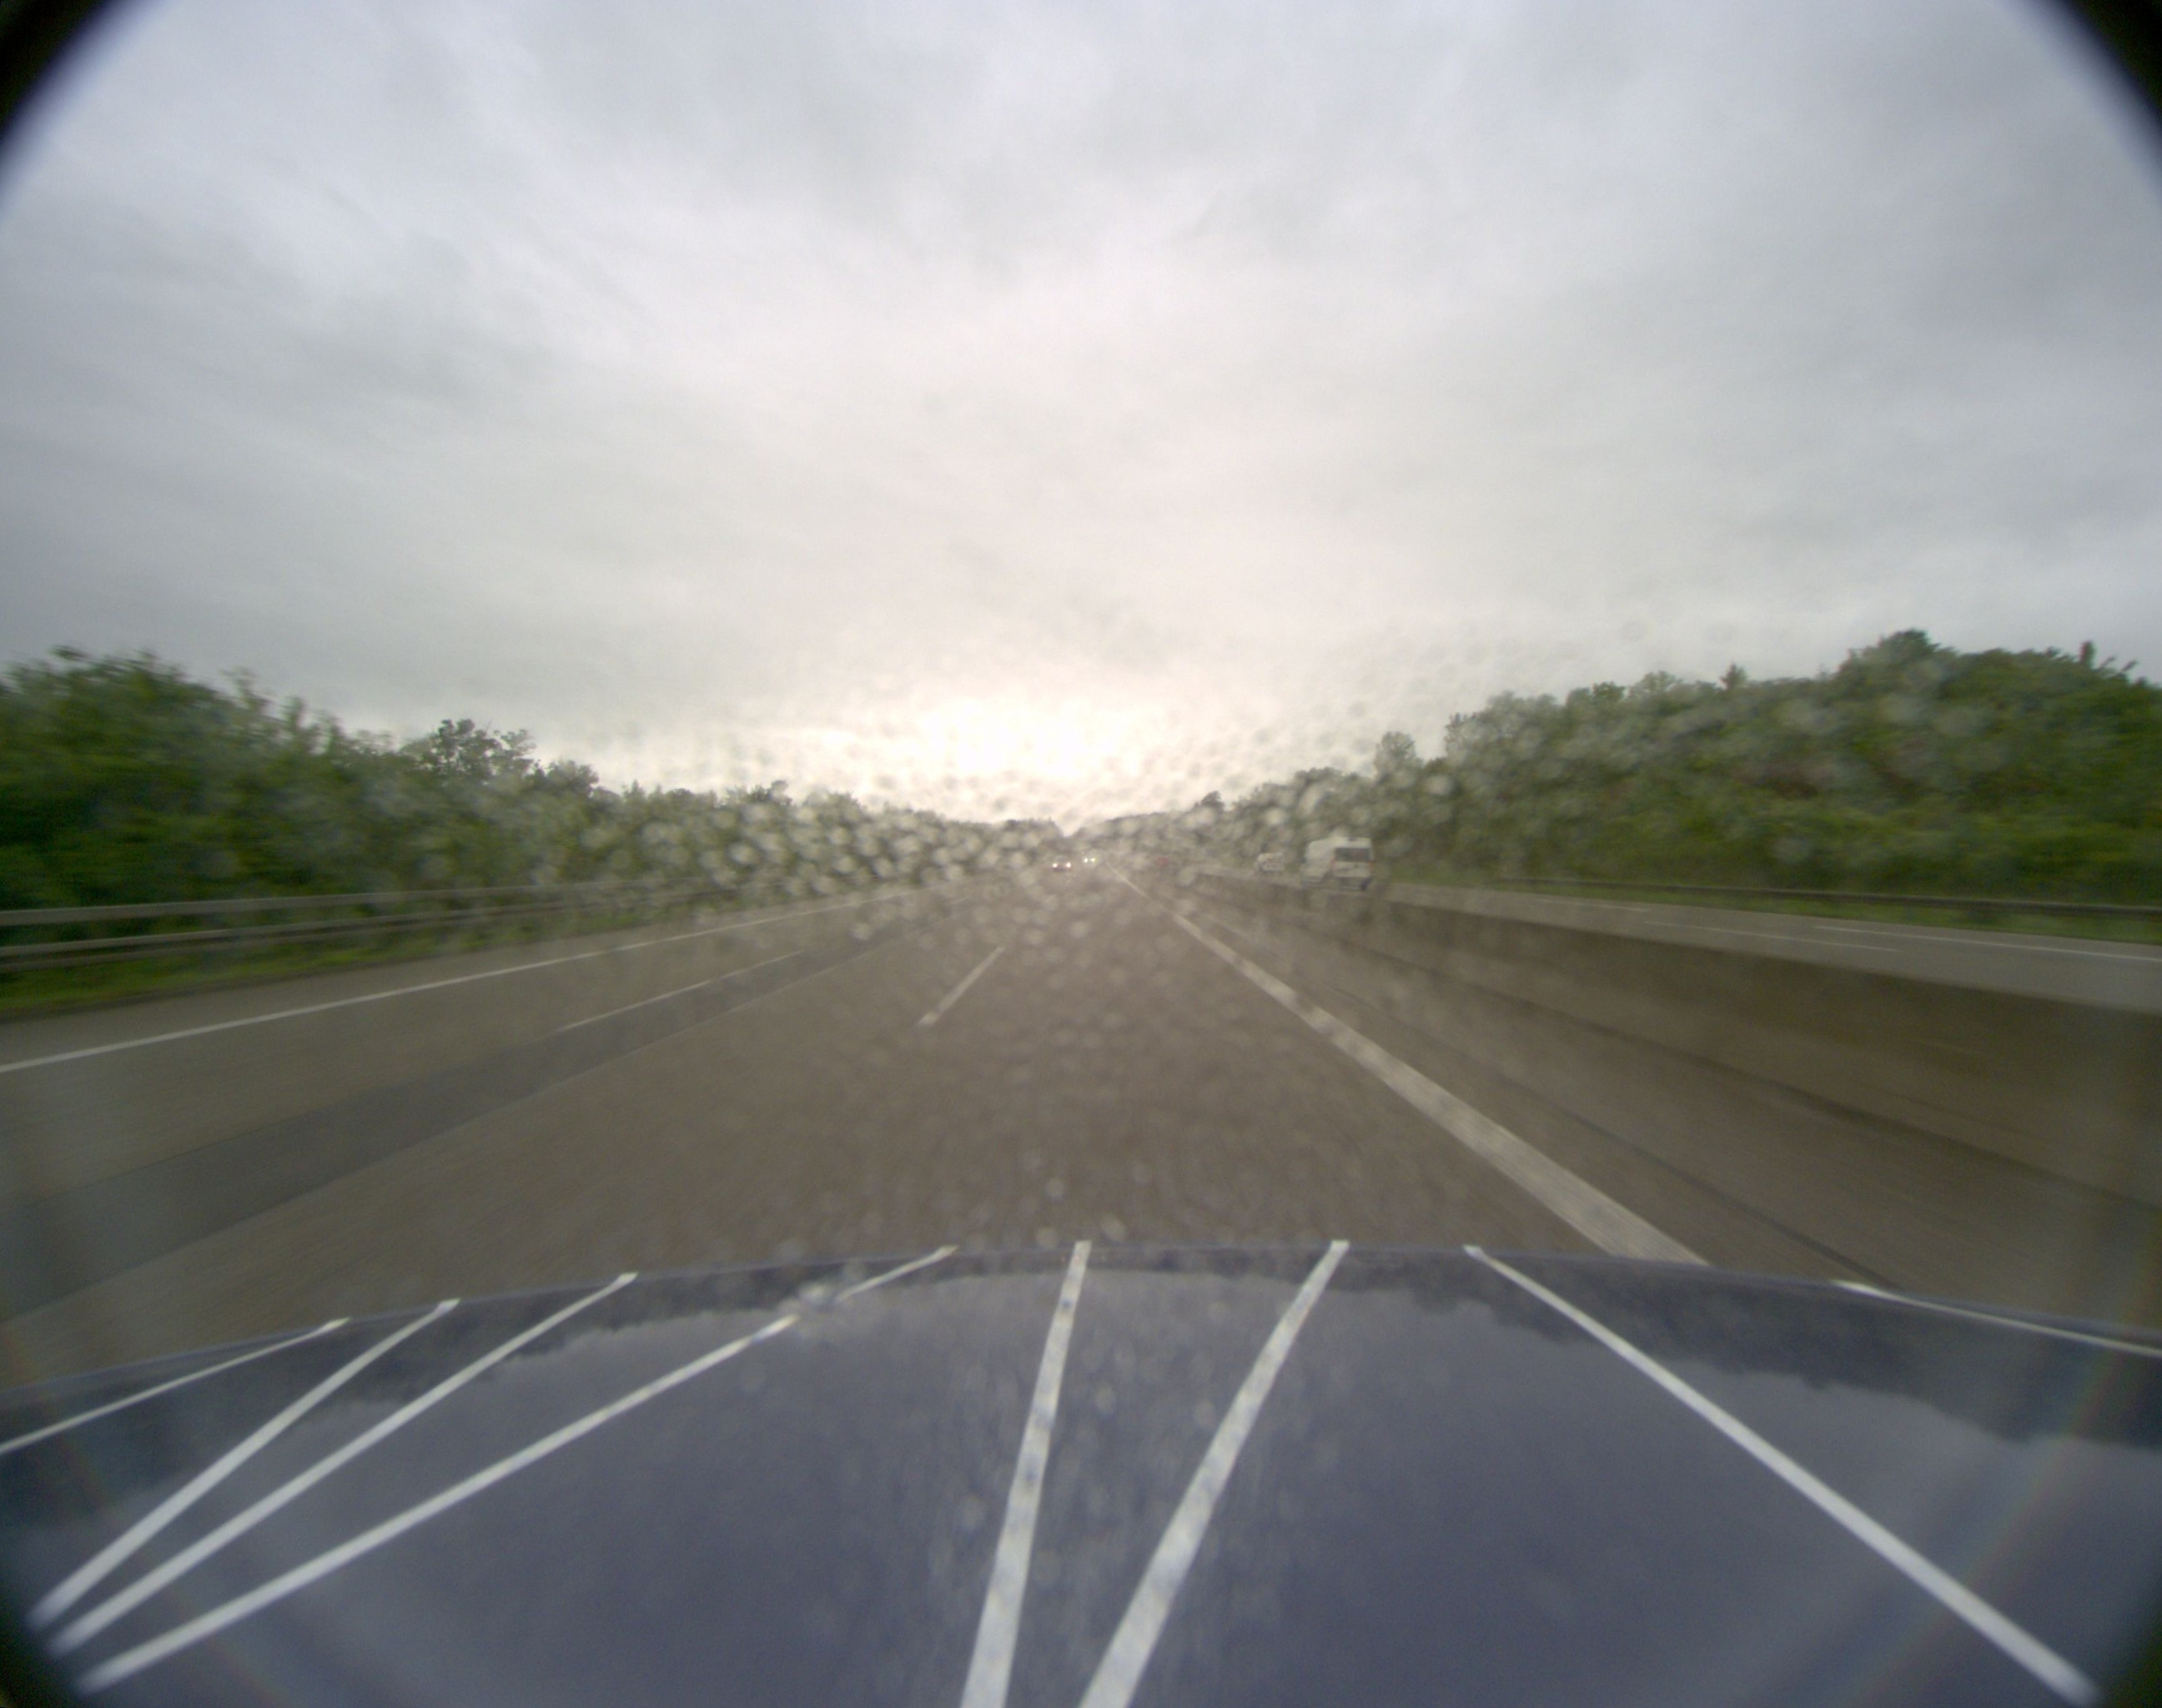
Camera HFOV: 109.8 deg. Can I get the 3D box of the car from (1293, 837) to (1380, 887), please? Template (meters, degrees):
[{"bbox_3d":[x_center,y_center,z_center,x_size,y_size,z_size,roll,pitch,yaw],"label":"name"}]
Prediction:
[{"bbox_3d":[12.710,0.359,38.335,2.282,2.317,6.174,0,0,0],"label":"car"}]

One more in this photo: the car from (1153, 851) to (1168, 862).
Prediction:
[{"bbox_3d":[10.760,0.338,102.856,1.639,1.404,4.366,0,0,0],"label":"car"}]

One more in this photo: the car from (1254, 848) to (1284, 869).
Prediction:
[{"bbox_3d":[17.212,0.413,69.676,1.746,1.893,4.530,0,0,1],"label":"car"}]

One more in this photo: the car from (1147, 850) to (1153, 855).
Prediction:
[{"bbox_3d":[20.585,-0.548,226.915,1.802,1.377,4.469,0,1,3],"label":"car"}]

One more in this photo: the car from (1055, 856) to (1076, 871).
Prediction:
[{"bbox_3d":[-1.616,1.002,80.651,1.932,1.521,4.298,0,0,1],"label":"car"}]

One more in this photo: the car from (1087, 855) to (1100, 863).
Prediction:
[{"bbox_3d":[2.263,0.856,136.046,2.009,1.455,4.000,0,1,4],"label":"car"}]

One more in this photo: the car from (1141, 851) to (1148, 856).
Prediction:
[{"bbox_3d":[22.007,-0.177,263.636,1.802,1.442,4.629,0,0,1],"label":"car"}]

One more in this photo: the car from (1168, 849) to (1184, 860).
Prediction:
[{"bbox_3d":[15.166,0.032,121.488,1.998,1.678,4.916,0,1,1],"label":"car"}]
